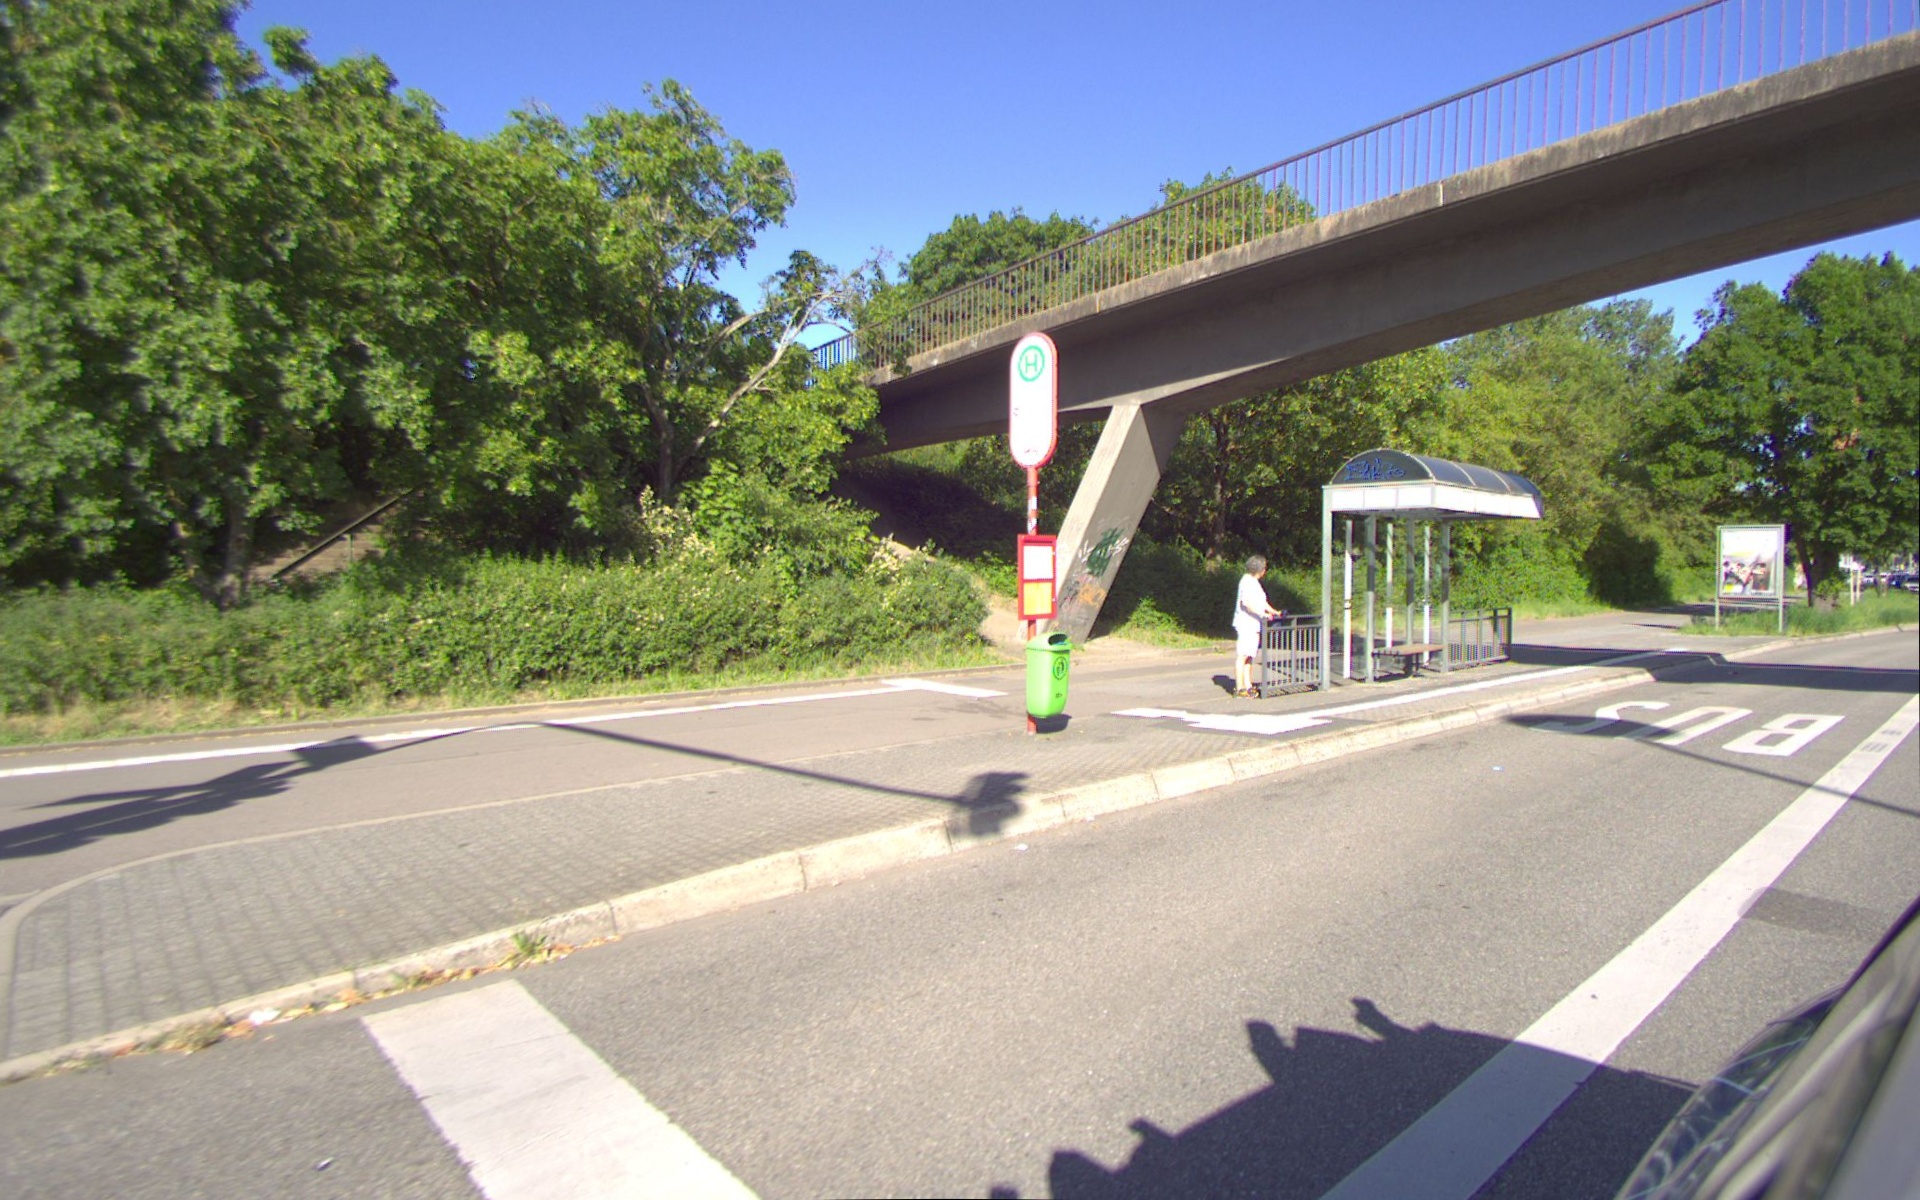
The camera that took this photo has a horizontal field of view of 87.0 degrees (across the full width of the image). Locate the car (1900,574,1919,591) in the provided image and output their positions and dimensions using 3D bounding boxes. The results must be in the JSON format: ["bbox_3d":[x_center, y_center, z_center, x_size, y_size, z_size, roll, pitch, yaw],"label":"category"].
[{"bbox_3d":[93.813,-1.667,99.555,1.869,1.641,3.776,0,1,44],"label":"car"}]

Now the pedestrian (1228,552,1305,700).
[{"bbox_3d":[3.637,0.286,12.016,0.705,1.683,0.588,0,1,-44],"label":"pedestrian"}]
